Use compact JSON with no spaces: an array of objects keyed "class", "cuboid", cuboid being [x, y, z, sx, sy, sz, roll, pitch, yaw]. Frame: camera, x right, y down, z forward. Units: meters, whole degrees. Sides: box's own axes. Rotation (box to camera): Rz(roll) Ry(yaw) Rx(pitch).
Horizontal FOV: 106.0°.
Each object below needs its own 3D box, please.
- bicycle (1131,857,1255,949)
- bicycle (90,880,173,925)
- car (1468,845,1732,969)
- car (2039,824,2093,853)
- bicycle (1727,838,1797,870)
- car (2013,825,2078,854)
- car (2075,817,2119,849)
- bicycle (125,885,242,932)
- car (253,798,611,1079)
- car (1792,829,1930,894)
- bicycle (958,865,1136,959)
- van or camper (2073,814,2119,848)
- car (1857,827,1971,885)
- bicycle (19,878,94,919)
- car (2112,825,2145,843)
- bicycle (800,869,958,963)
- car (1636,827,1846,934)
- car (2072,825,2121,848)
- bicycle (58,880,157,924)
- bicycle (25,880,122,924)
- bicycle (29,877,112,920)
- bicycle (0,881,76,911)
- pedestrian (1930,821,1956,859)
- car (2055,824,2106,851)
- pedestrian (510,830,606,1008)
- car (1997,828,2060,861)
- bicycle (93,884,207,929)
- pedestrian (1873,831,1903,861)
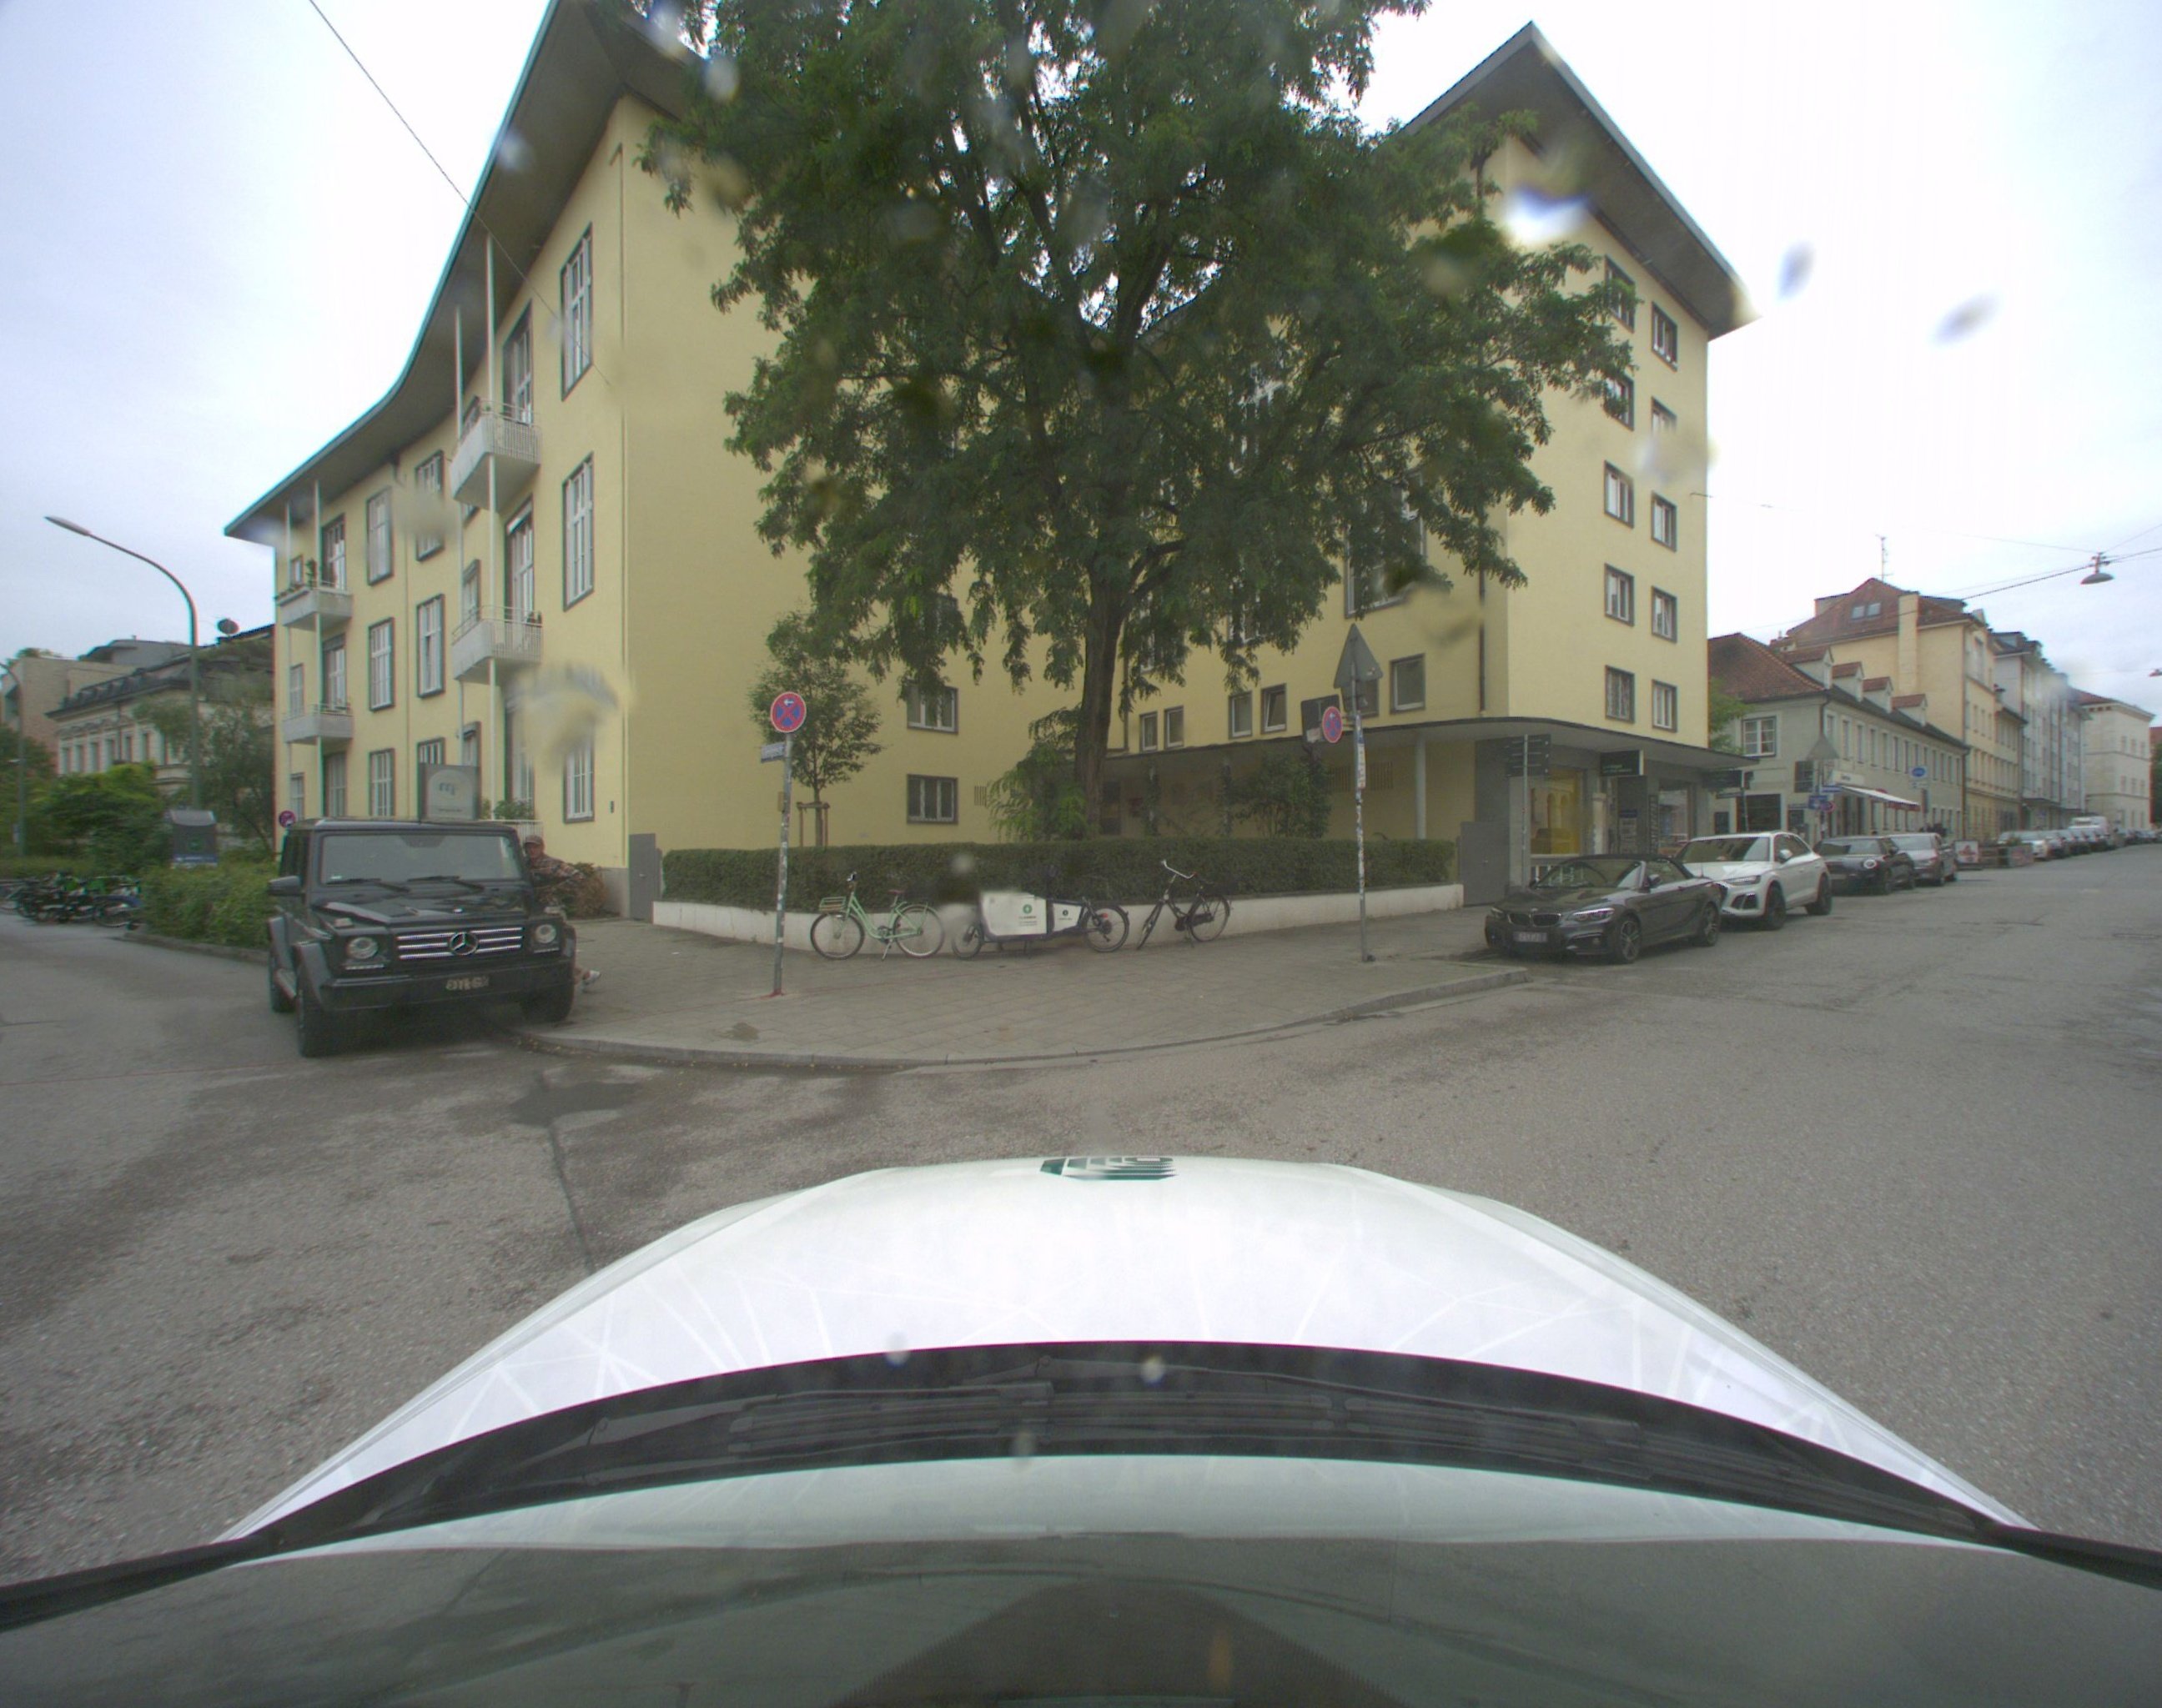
[{"class":"bicycle","cuboid":[1.633,0.663,11.745,1.861,1.210,0.558,-1,1,-33]},{"class":"bicycle","cuboid":[-24.176,1.211,20.764,0.382,1.065,1.609,0,0,-7]},{"class":"car","cuboid":[7.542,0.649,11.709,4.115,1.410,1.732,-2,0,-35]},{"class":"car","cuboid":[53.761,-0.838,44.442,4.220,1.496,1.740,-1,1,-38]},{"class":"bicycle","cuboid":[23.506,-0.020,28.126,0.393,1.034,1.806,-2,3,-32]},{"class":"car","cuboid":[48.877,-0.760,41.254,4.706,1.339,1.784,-2,1,-36]},{"class":"car","cuboid":[66.240,-1.356,53.117,4.649,1.995,1.740,-1,1,-39]},{"class":"bicycle","cuboid":[-20.832,1.249,18.951,0.435,0.984,1.763,0,-1,26]},{"class":"car","cuboid":[-6.502,0.614,7.970,4.364,2.001,1.948,0,-1,41]},{"class":"car","cuboid":[19.648,0.148,20.473,4.114,1.471,1.666,-2,0,-34]},{"class":"bicycle","cuboid":[-0.452,0.737,10.741,2.291,1.126,0.581,-1,2,-11]},{"class":"van or camper","cuboid":[70.478,-1.575,56.524,5.296,2.281,1.741,-1,1,-36]},{"class":"car","cuboid":[23.612,0.027,23.030,4.974,1.471,1.665,-2,0,-38]},{"class":"bicycle","cuboid":[-28.554,1.221,22.723,0.391,1.065,1.606,0,0,-14]},{"class":"car","cuboid":[98.063,-1.824,76.240,3.880,1.609,1.693,-1,-1,-36]},{"class":"bicycle","cuboid":[-2.683,0.818,10.845,1.931,1.156,0.586,-1,2,14]},{"class":"car","cuboid":[12.058,0.400,14.792,4.356,1.584,1.789,-3,0,-35]},{"class":"car","cuboid":[62.345,-1.071,49.993,4.121,1.408,1.741,-1,1,-36]},{"class":"bicycle","cuboid":[-25.000,1.214,20.954,0.473,1.065,1.617,0,0,9]},{"class":"bicycle","cuboid":[-26.118,1.216,21.145,0.474,1.065,1.614,0,0,2]},{"class":"bicycle","cuboid":[-27.082,1.170,21.862,0.390,1.065,1.609,0,0,-8]},{"class":"bicycle","cuboid":[-33.717,1.333,25.942,0.540,0.908,2.048,0,-1,28]},{"class":"pedestrian","cuboid":[43.933,-0.701,41.499,0.831,1.898,0.816,0,-1,-36]},{"class":"car","cuboid":[58.138,-0.956,47.372,4.152,1.441,1.801,-2,0,-39]},{"class":"pedestrian","cuboid":[-5.569,0.660,8.706,0.640,1.798,0.558,-3,1,-17]},{"class":"car","cuboid":[44.563,-0.490,38.283,3.732,1.475,1.740,-1,1,-38]},{"class":"bicycle","cuboid":[-22.371,1.243,19.606,0.359,0.984,1.763,0,-1,28]},{"class":"pedestrian","cuboid":[35.574,-0.356,35.902,0.696,1.290,0.797,0,-1,-35]}]
